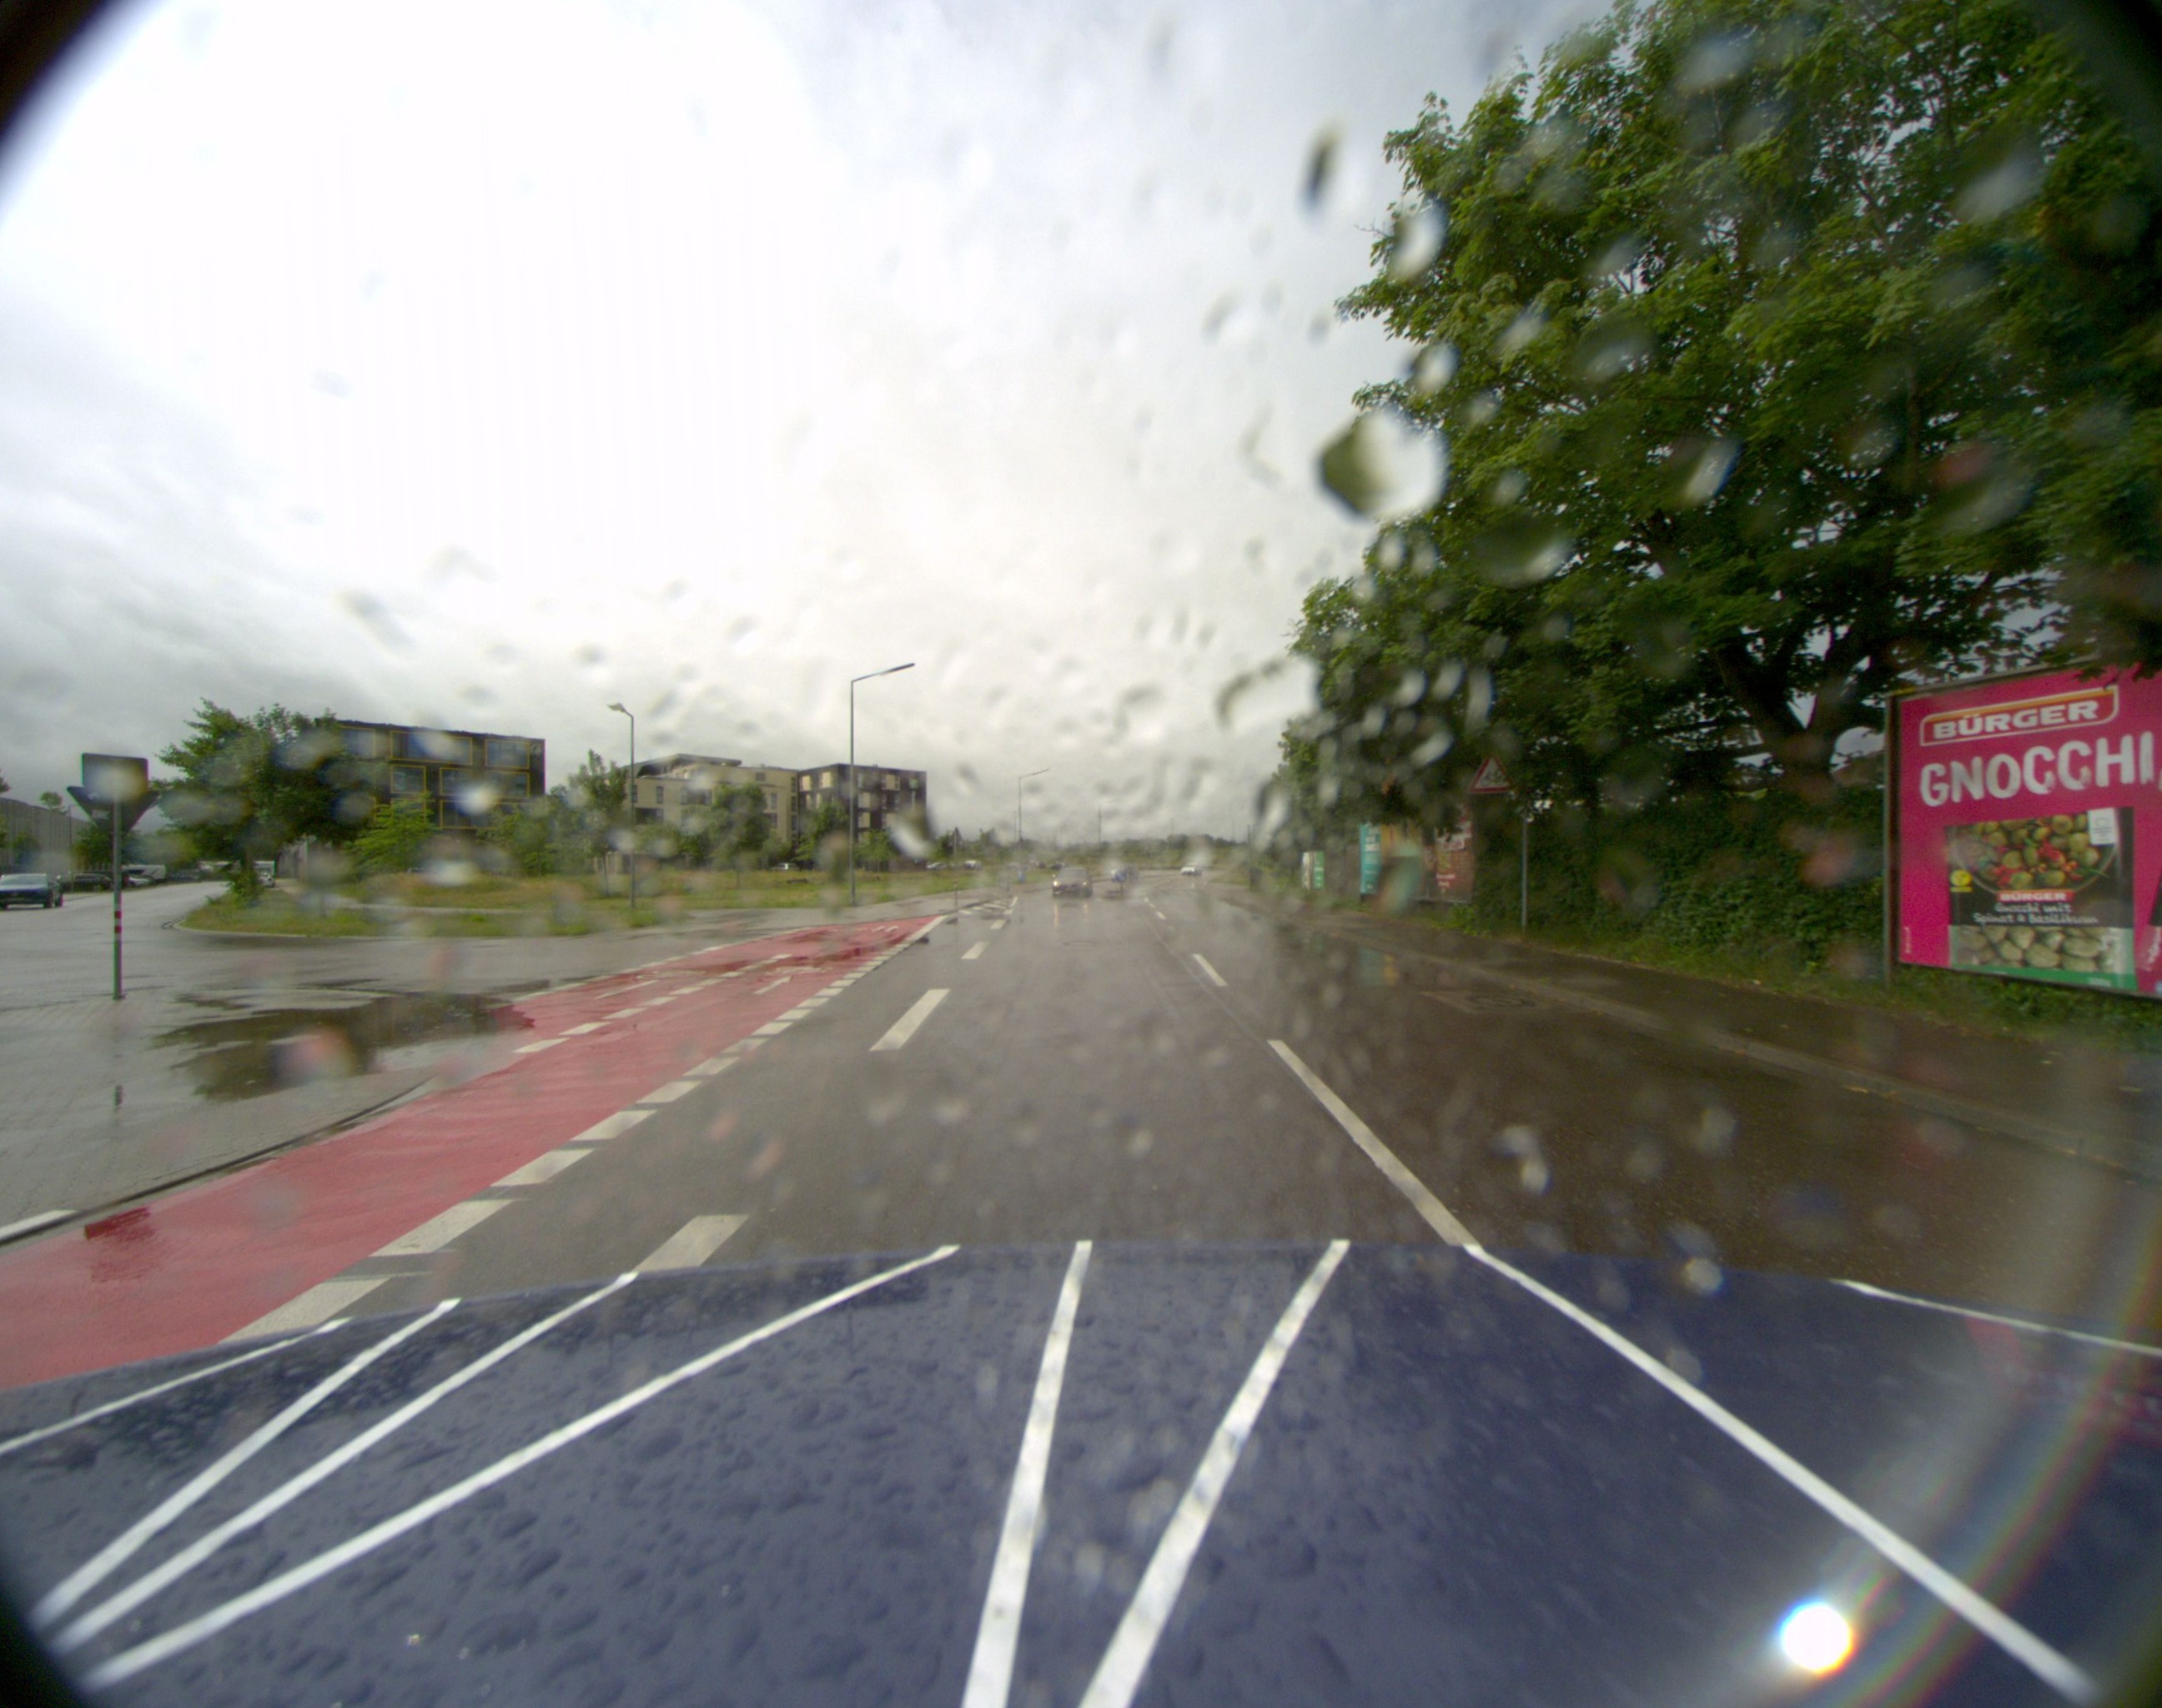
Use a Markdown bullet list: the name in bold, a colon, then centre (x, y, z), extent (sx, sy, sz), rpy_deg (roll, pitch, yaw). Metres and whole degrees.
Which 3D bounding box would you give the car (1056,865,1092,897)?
- **car**: centre (-0.375, 1.314, 38.138), extent (1.724, 1.423, 3.818), rpy_deg (-1, 0, -1)

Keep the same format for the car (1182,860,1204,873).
- **car**: centre (15.030, 1.668, 101.761), extent (1.794, 1.623, 3.825), rpy_deg (-1, 0, 26)

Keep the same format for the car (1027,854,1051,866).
- **car**: centre (-7.604, 1.028, 136.039), extent (3.989, 2.002, 2.004), rpy_deg (-1, 0, 42)

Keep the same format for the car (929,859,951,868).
- **car**: centre (-25.577, 1.683, 138.068), extent (3.657, 1.601, 1.596), rpy_deg (-1, 0, -40)

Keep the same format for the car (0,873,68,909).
- **car**: centre (-49.336, 1.702, 35.755), extent (3.590, 1.601, 1.603), rpy_deg (-1, 0, 43)

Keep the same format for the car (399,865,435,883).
- **car**: centre (-60.656, 1.796, 69.380), extent (3.658, 1.573, 1.652), rpy_deg (-1, 0, 36)

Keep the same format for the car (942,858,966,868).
- **car**: centre (-21.966, 1.558, 131.711), extent (3.657, 1.651, 1.646), rpy_deg (-1, 0, -36)

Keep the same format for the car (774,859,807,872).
- **car**: centre (-36.132, 1.433, 94.518), extent (1.644, 1.573, 3.674), rpy_deg (-1, 0, 24)

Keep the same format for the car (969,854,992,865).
- **car**: centre (-19.514, 1.021, 147.054), extent (4.008, 2.002, 1.994), rpy_deg (-1, 0, -43)

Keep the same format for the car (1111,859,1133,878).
- **car**: centre (3.761, 1.307, 69.492), extent (1.646, 1.623, 3.671), rpy_deg (-1, 0, 9)
